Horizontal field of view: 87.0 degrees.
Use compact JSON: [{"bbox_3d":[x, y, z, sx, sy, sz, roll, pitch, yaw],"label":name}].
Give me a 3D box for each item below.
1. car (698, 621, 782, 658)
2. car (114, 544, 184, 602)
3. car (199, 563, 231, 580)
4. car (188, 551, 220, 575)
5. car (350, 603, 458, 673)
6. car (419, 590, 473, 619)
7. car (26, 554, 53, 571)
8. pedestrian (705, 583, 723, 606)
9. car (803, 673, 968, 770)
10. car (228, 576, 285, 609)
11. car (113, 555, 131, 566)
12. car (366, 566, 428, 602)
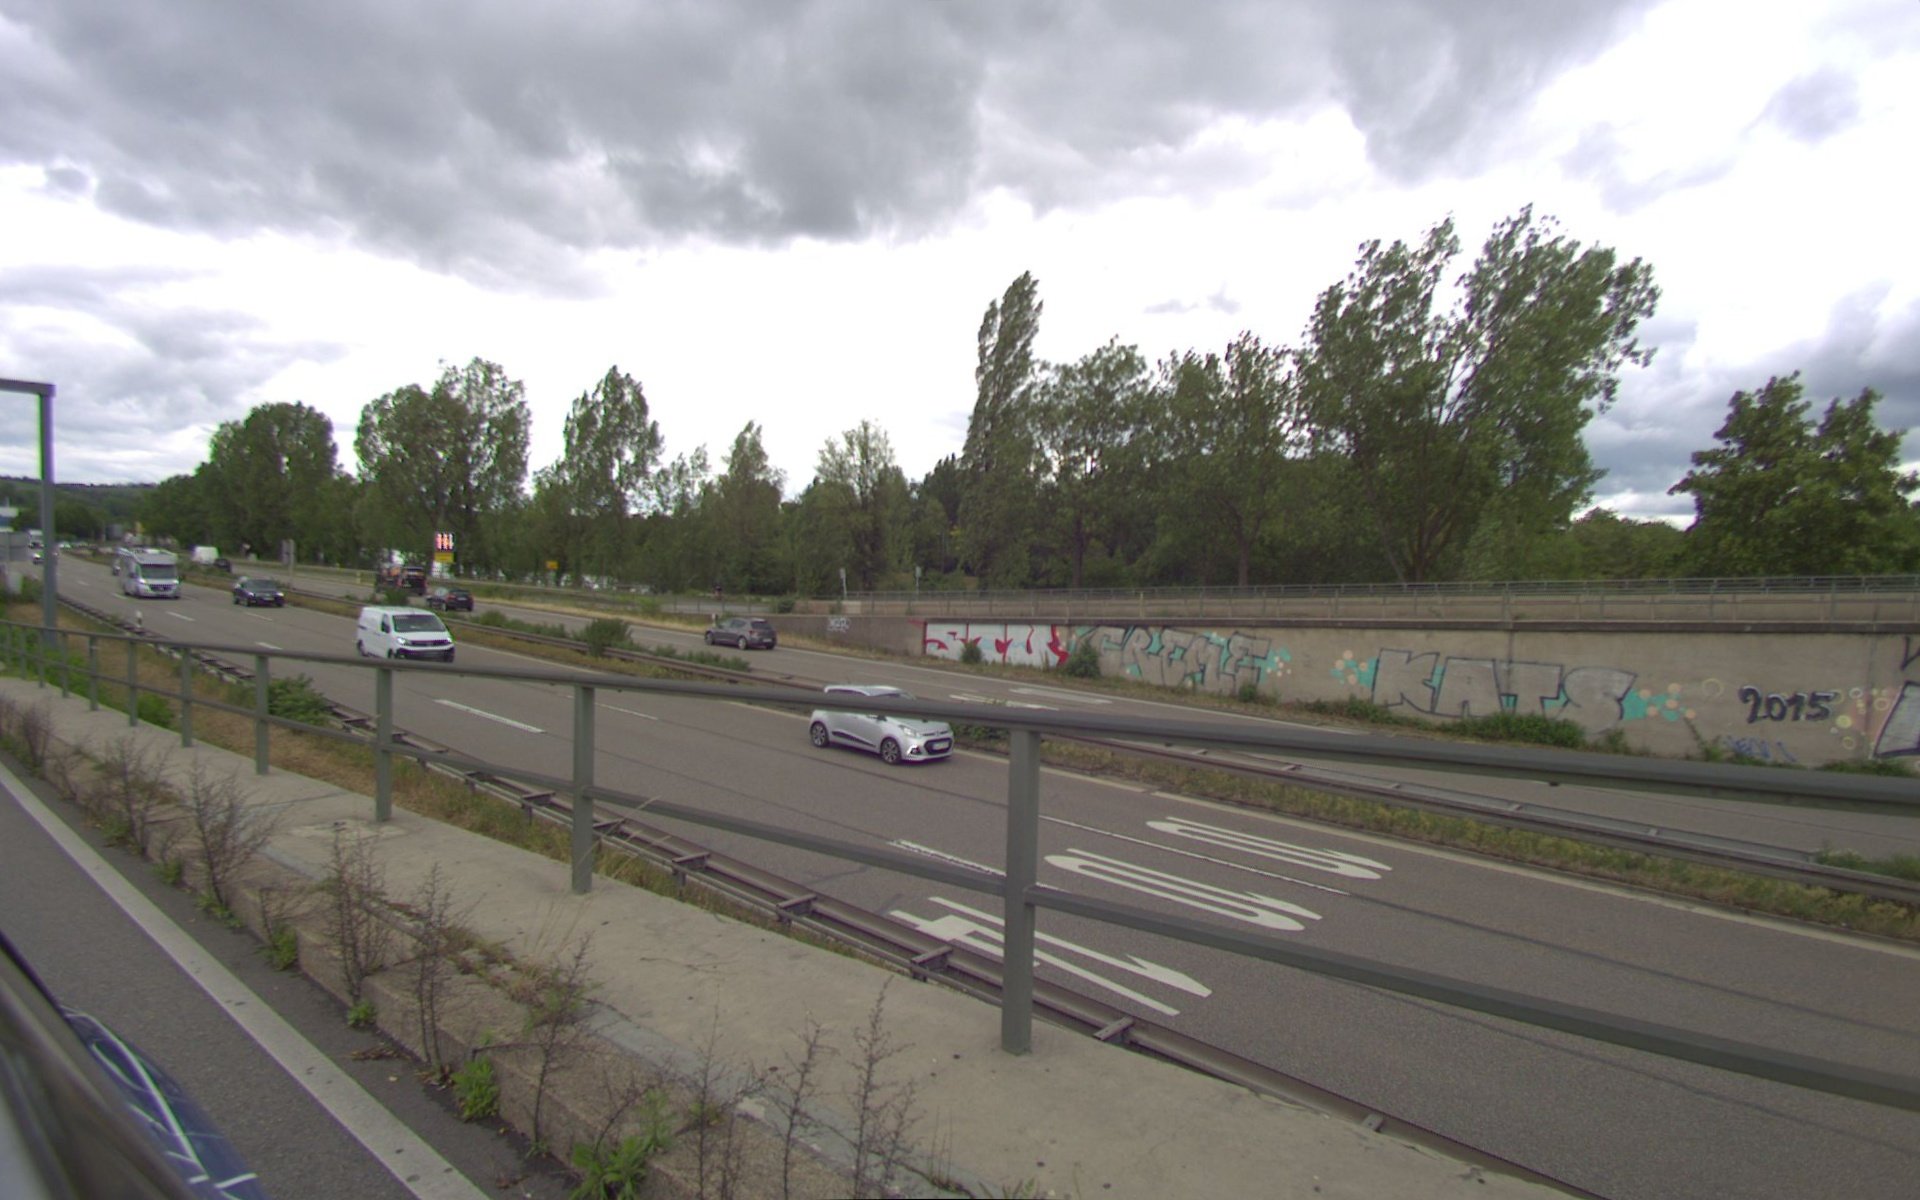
[{"bbox_3d":[-10.365,1.831,47.618,4.109,1.386,1.693,4,2,41],"label":"car"},{"bbox_3d":[-50.345,-1.745,62.721,7.662,3.264,2.335,4,3,43],"label":"car"},{"bbox_3d":[-80.155,-3.083,108.916,4.332,1.662,1.878,4,2,41],"label":"car"},{"bbox_3d":[-98.342,-4.837,131.570,5.360,2.800,2.187,5,2,41],"label":"car"},{"bbox_3d":[-19.359,1.250,35.127,4.899,1.949,1.928,5,4,44],"label":"car"},{"bbox_3d":[-31.984,0.277,62.941,3.857,1.512,1.646,4,2,41],"label":"car"},{"bbox_3d":[-102.198,-4.126,112.337,4.278,1.813,1.821,0,0,41],"label":"car"},{"bbox_3d":[-18.765,-0.419,77.282,1.077,1.717,0.821,4,4,41],"label":"pedestrian"},{"bbox_3d":[-1.737,2.658,22.891,3.681,1.564,1.540,4,3,41],"label":"car"},{"bbox_3d":[-41.377,-0.450,59.476,4.280,1.726,1.820,4,2,42],"label":"car"},{"bbox_3d":[-145.227,-6.836,175.330,3.931,1.662,1.879,3,2,41],"label":"car"},{"bbox_3d":[-43.877,-1.254,78.856,6.111,2.565,2.221,4,2,40],"label":"car"}]
